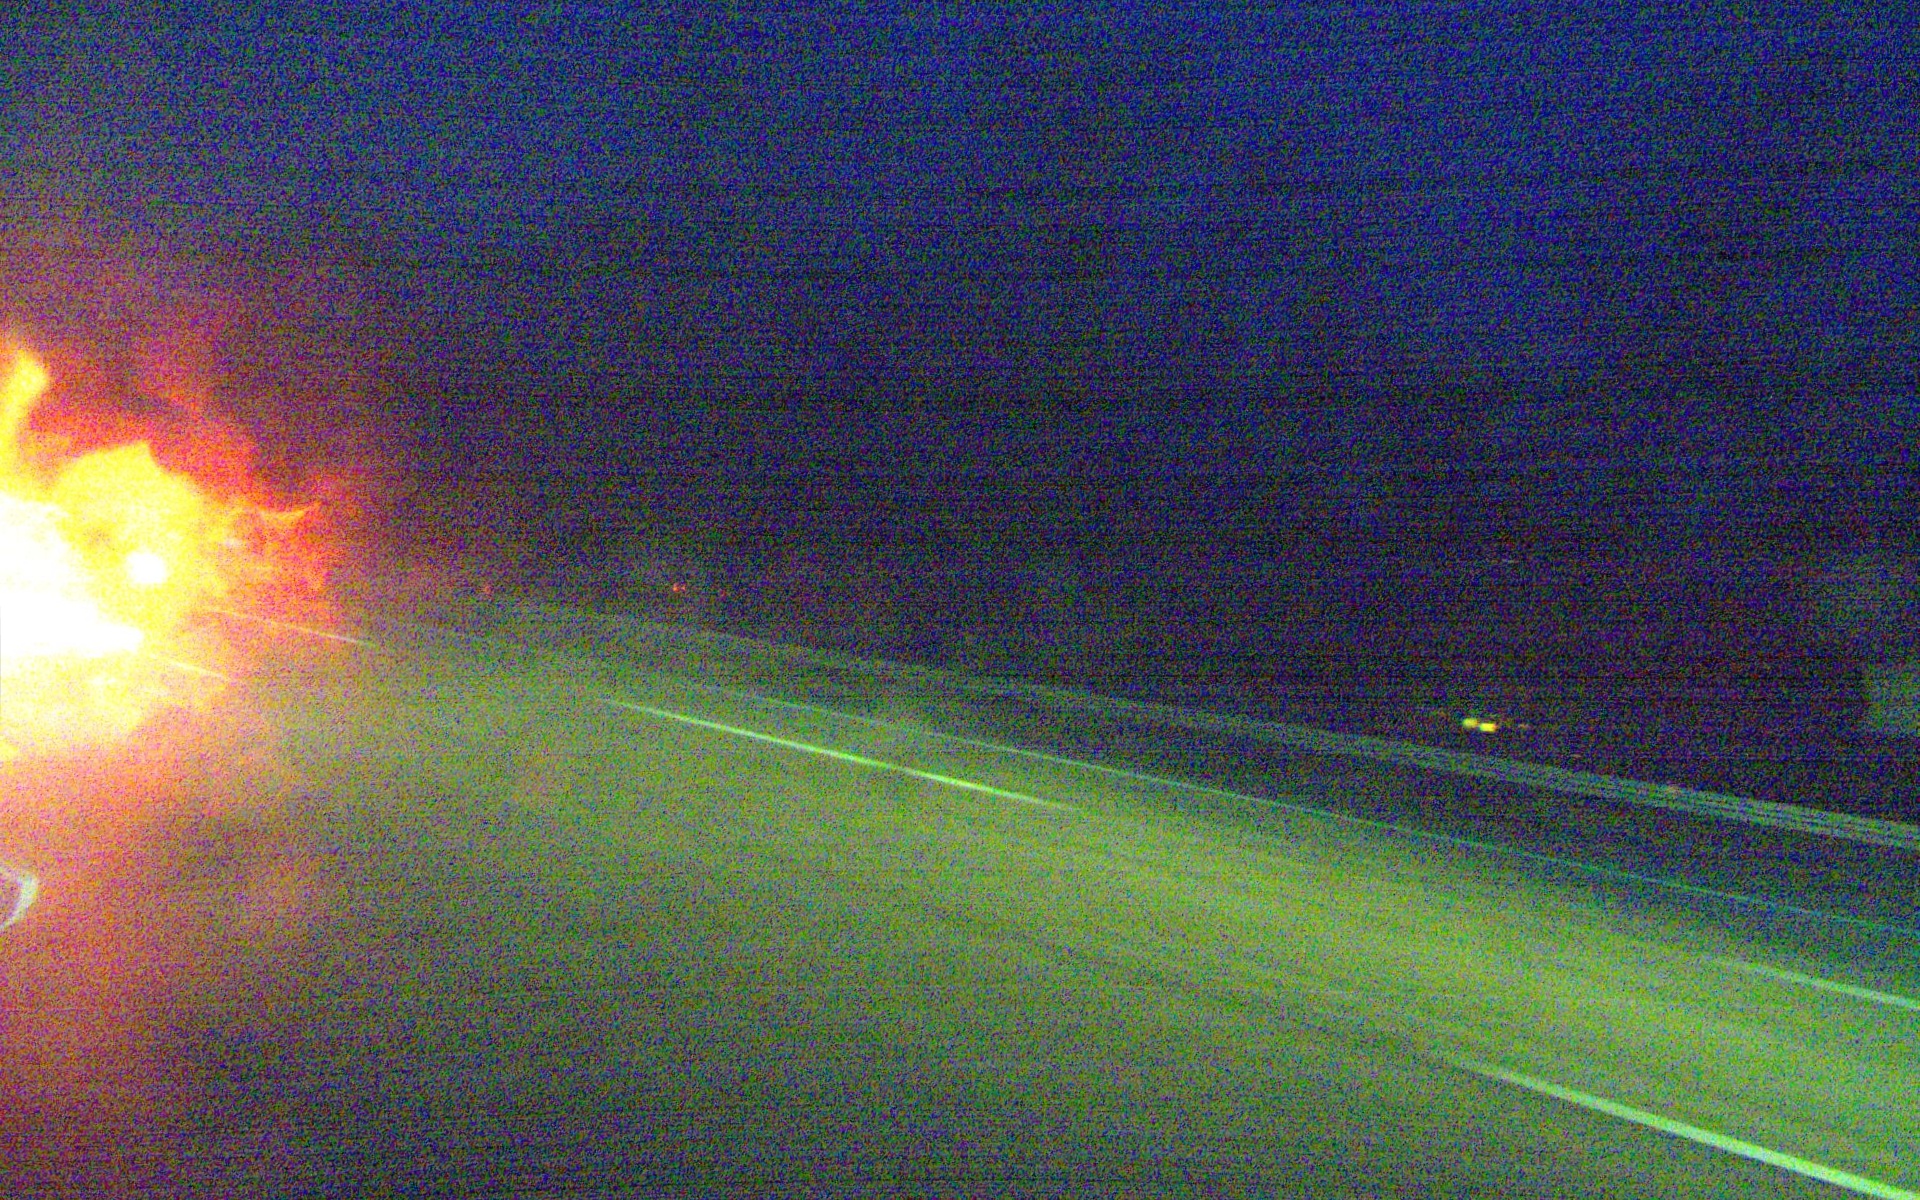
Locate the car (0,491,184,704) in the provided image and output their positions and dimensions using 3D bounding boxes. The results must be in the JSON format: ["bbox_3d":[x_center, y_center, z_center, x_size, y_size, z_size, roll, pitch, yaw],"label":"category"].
[{"bbox_3d":[-8.890,-0.200,8.845,3.934,1.606,1.888,7,-2,32],"label":"car"}]
